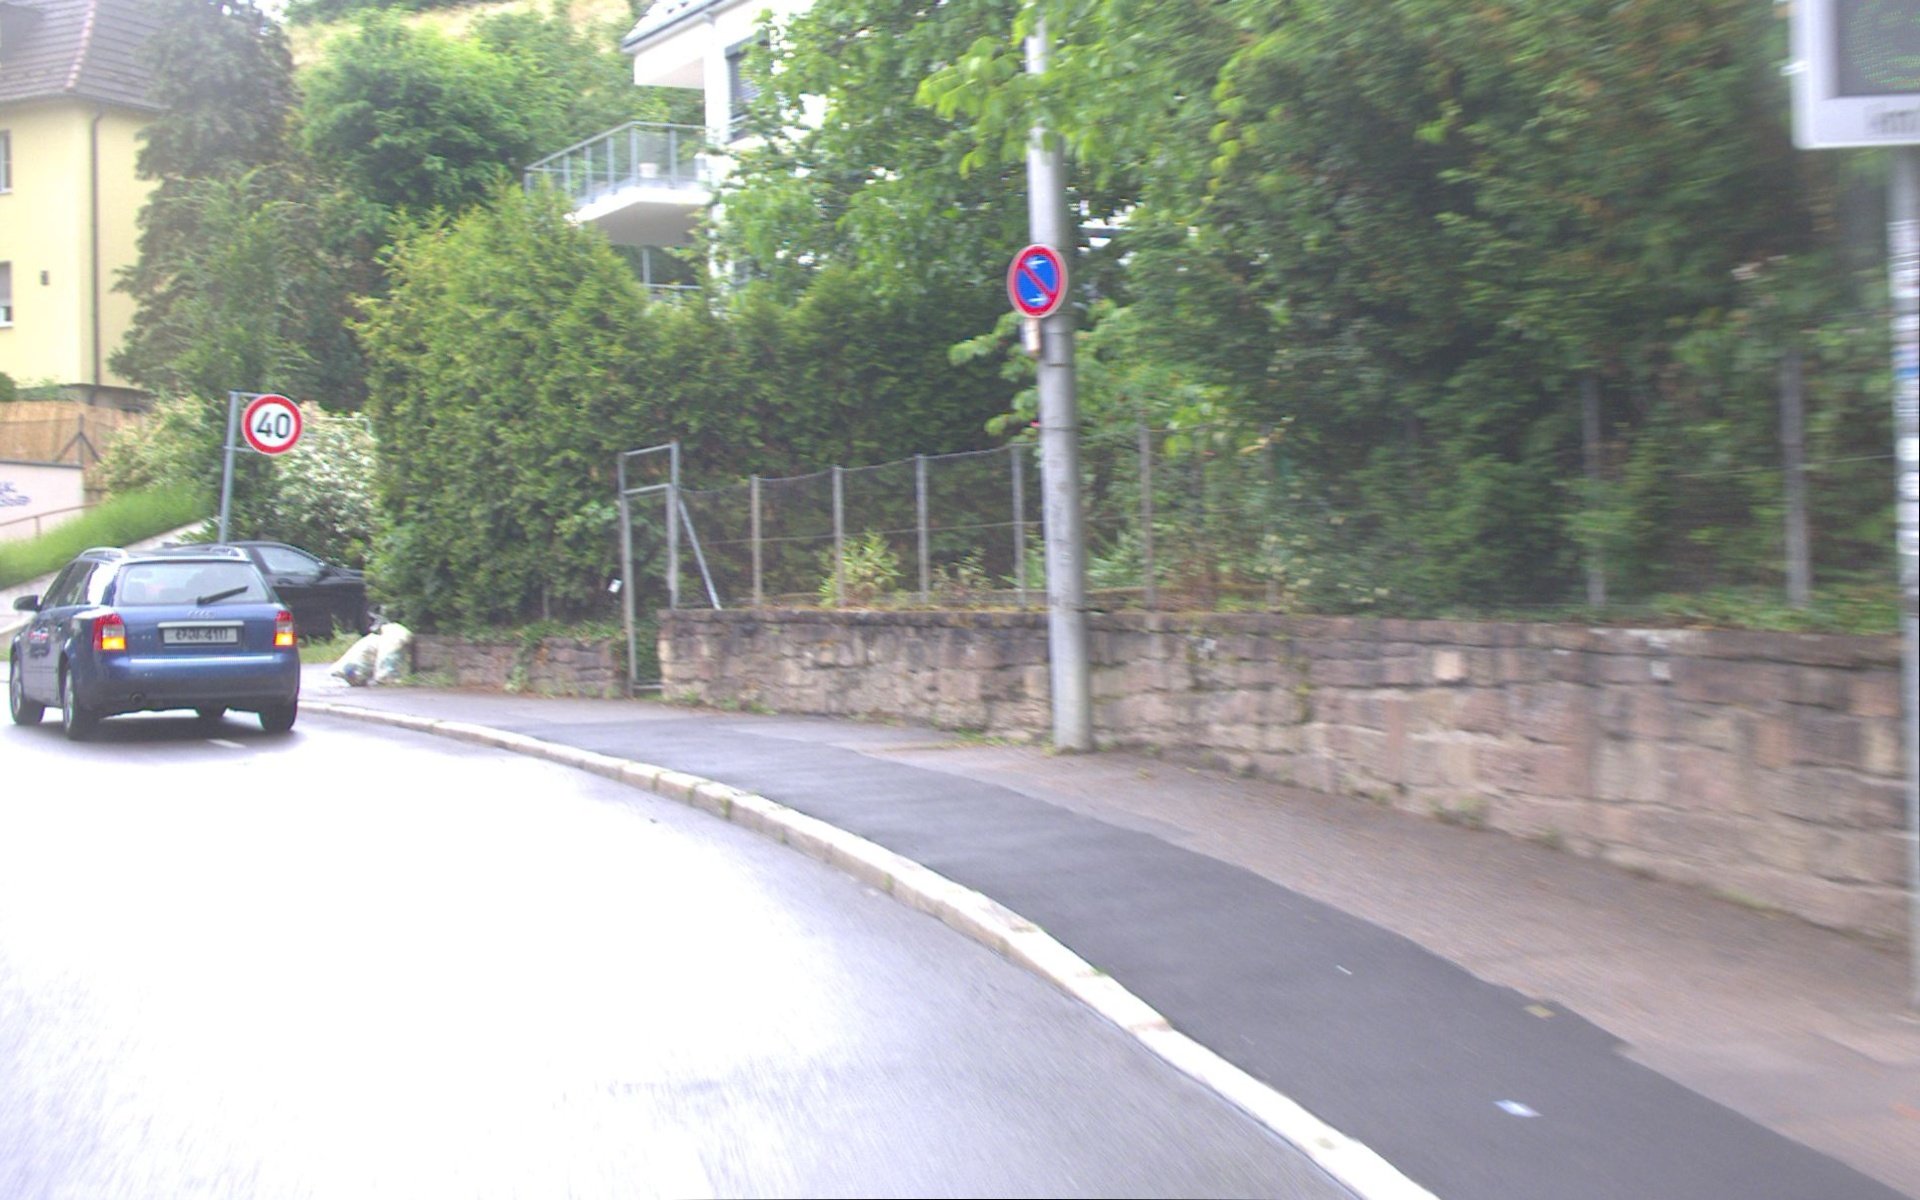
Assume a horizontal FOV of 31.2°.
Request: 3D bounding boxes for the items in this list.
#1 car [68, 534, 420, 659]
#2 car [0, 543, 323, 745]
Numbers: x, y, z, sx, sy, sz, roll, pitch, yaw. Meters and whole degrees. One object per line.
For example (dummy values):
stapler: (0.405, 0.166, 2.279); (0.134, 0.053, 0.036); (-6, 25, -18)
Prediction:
car: (-9.255, -0.077, 44.630); (4.171, 1.503, 1.739); (-2, 2, -43)
car: (-6.499, 0.285, 27.475); (1.853, 1.409, 4.363); (-1, 2, -23)
